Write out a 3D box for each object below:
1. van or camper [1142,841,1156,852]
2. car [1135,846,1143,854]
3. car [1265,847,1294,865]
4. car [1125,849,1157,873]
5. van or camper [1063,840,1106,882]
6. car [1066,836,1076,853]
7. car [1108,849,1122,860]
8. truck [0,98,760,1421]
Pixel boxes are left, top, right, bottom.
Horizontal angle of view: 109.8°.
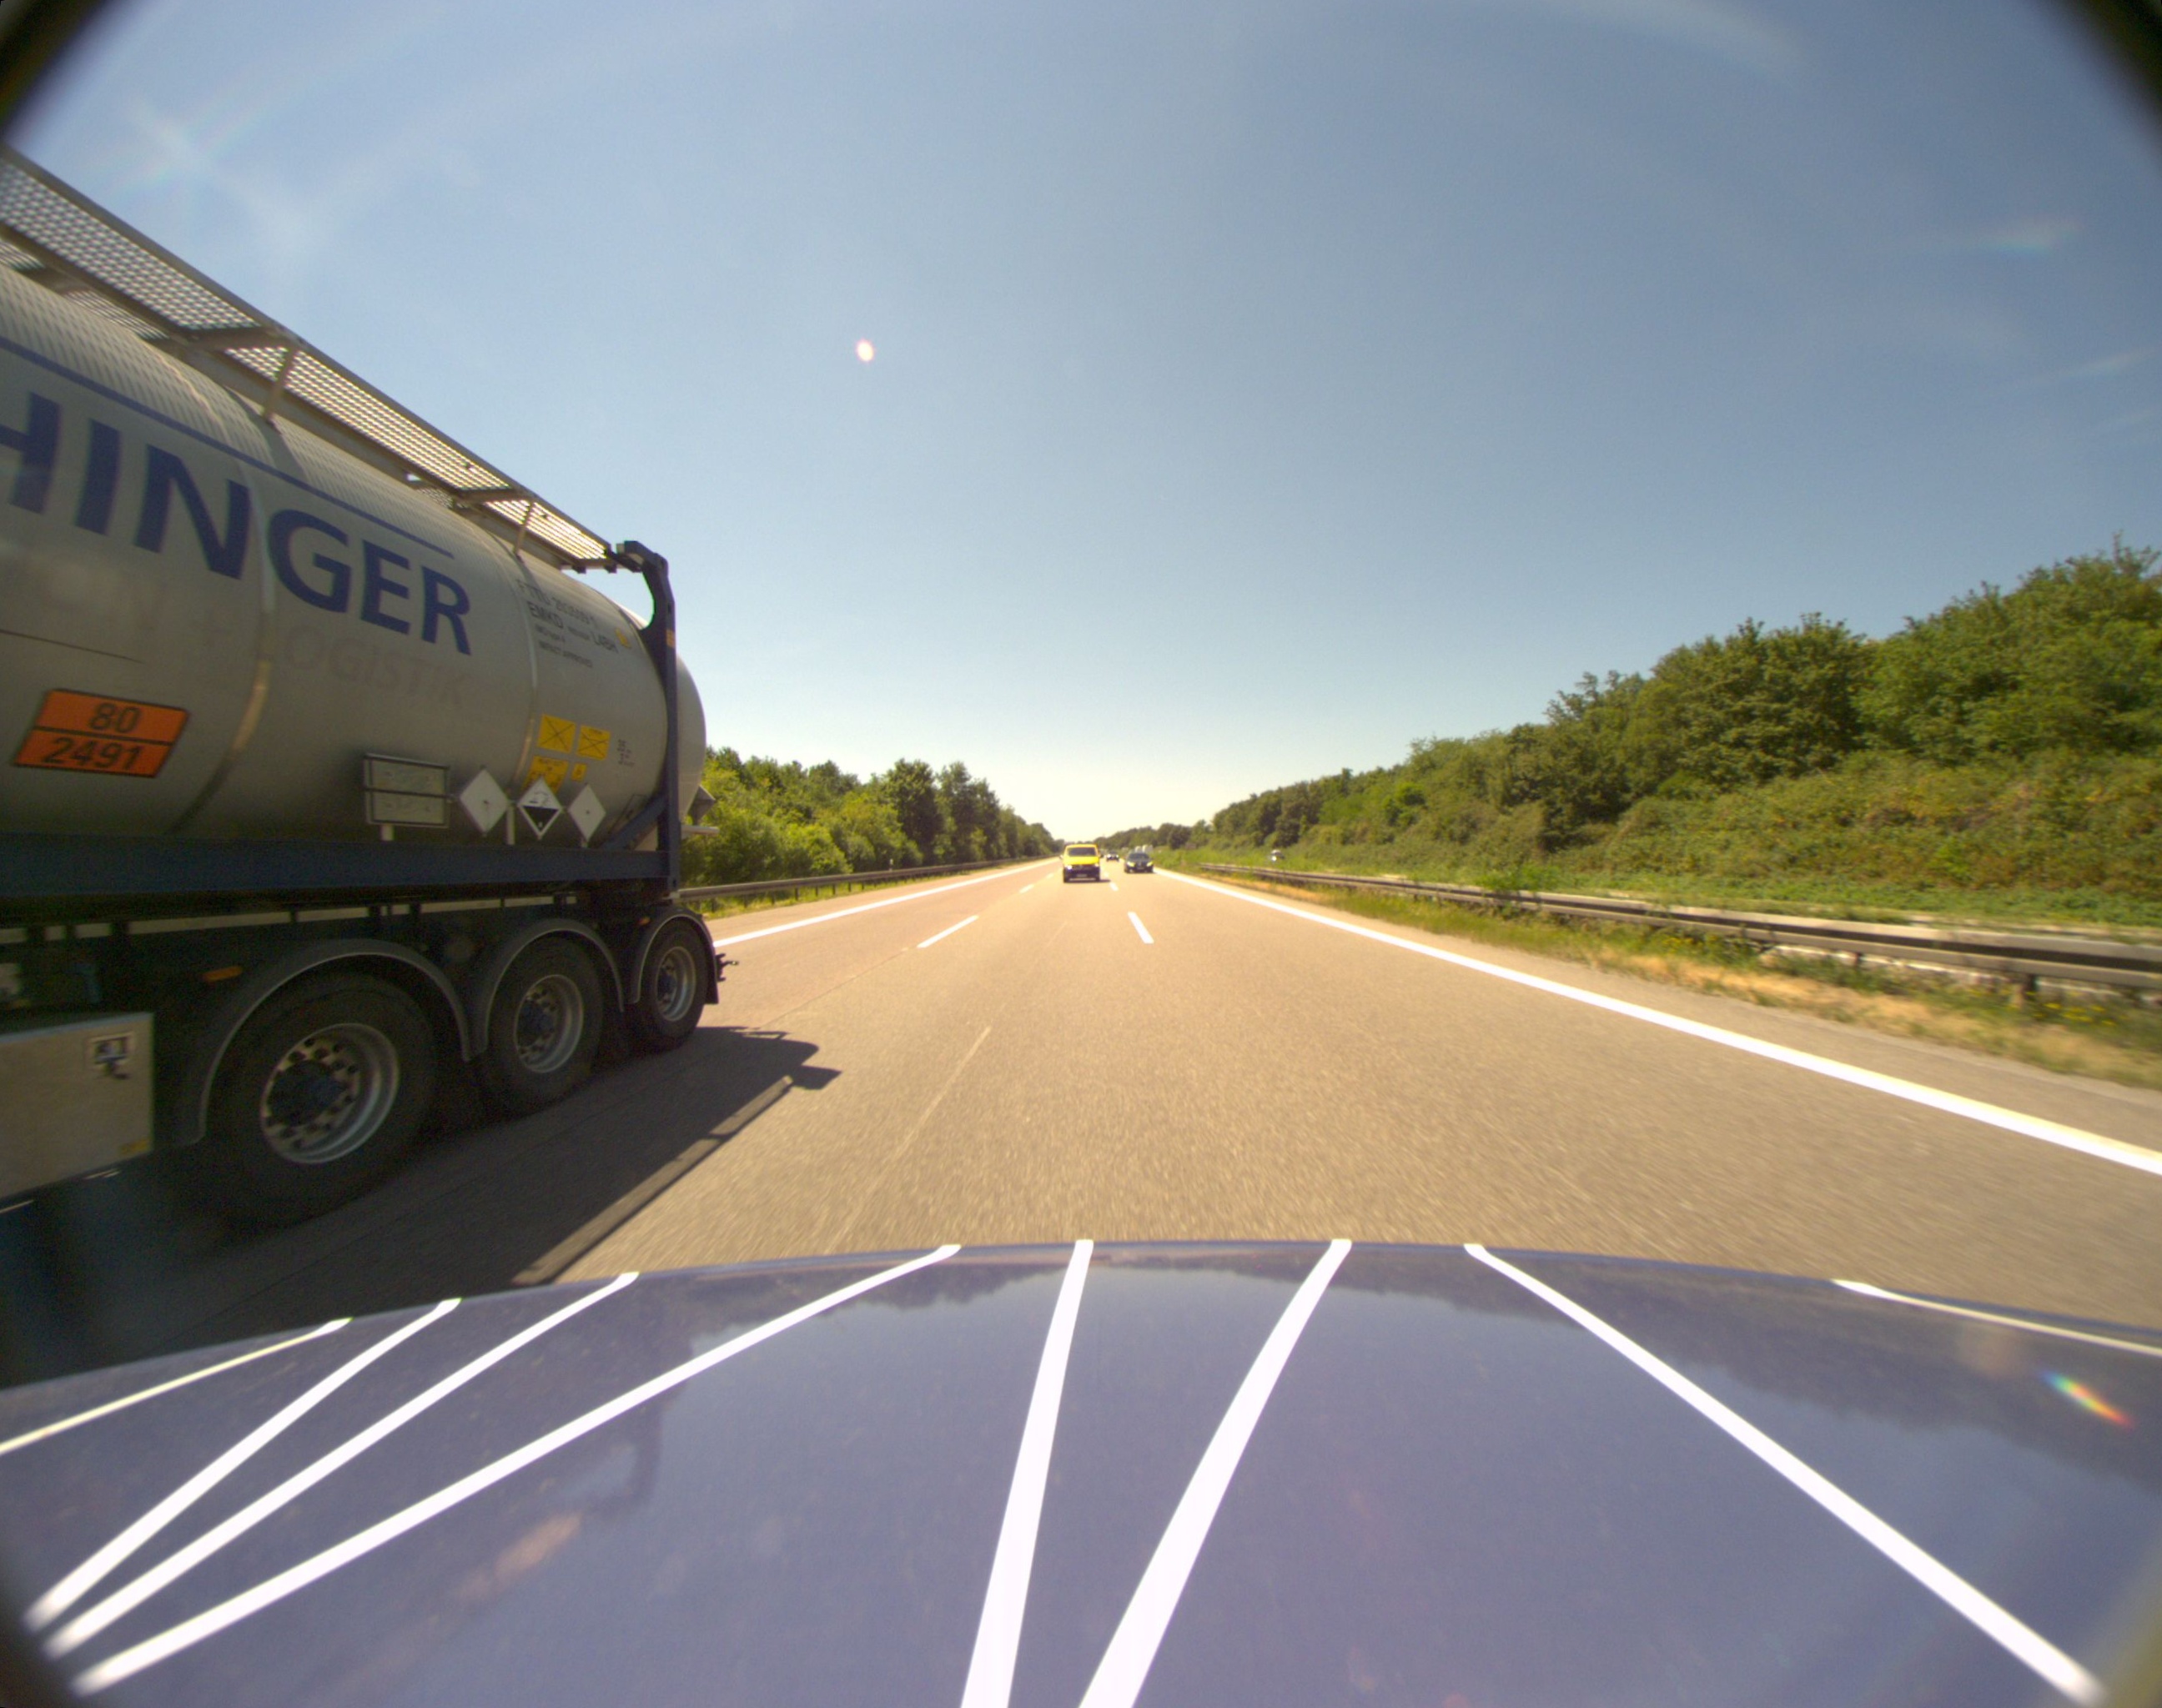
[{"bbox_3d":[14.966,-1.641,167.468,2.431,2.352,6.335,-2,1,0],"label":"van or camper"},{"bbox_3d":[19.207,-1.334,250.233,2.041,2.731,6.657,1,1,0],"label":"car"},{"bbox_3d":[21.808,0.224,83.661,1.998,1.904,4.303,-1,1,0],"label":"car"},{"bbox_3d":[4.125,0.450,52.966,1.894,1.541,4.039,1,1,0],"label":"car"},{"bbox_3d":[0.243,0.320,40.079,2.063,1.992,5.884,-1,1,2],"label":"van or camper"},{"bbox_3d":[-2.420,-2.343,187.217,2.298,3.886,9.268,1,1,0],"label":"car"},{"bbox_3d":[4.904,0.071,110.484,1.894,1.541,4.039,1,1,0],"label":"car"},{"bbox_3d":[-4.697,-0.260,0.687,2.805,4.022,13.353,-2,1,1],"label":"truck"}]
